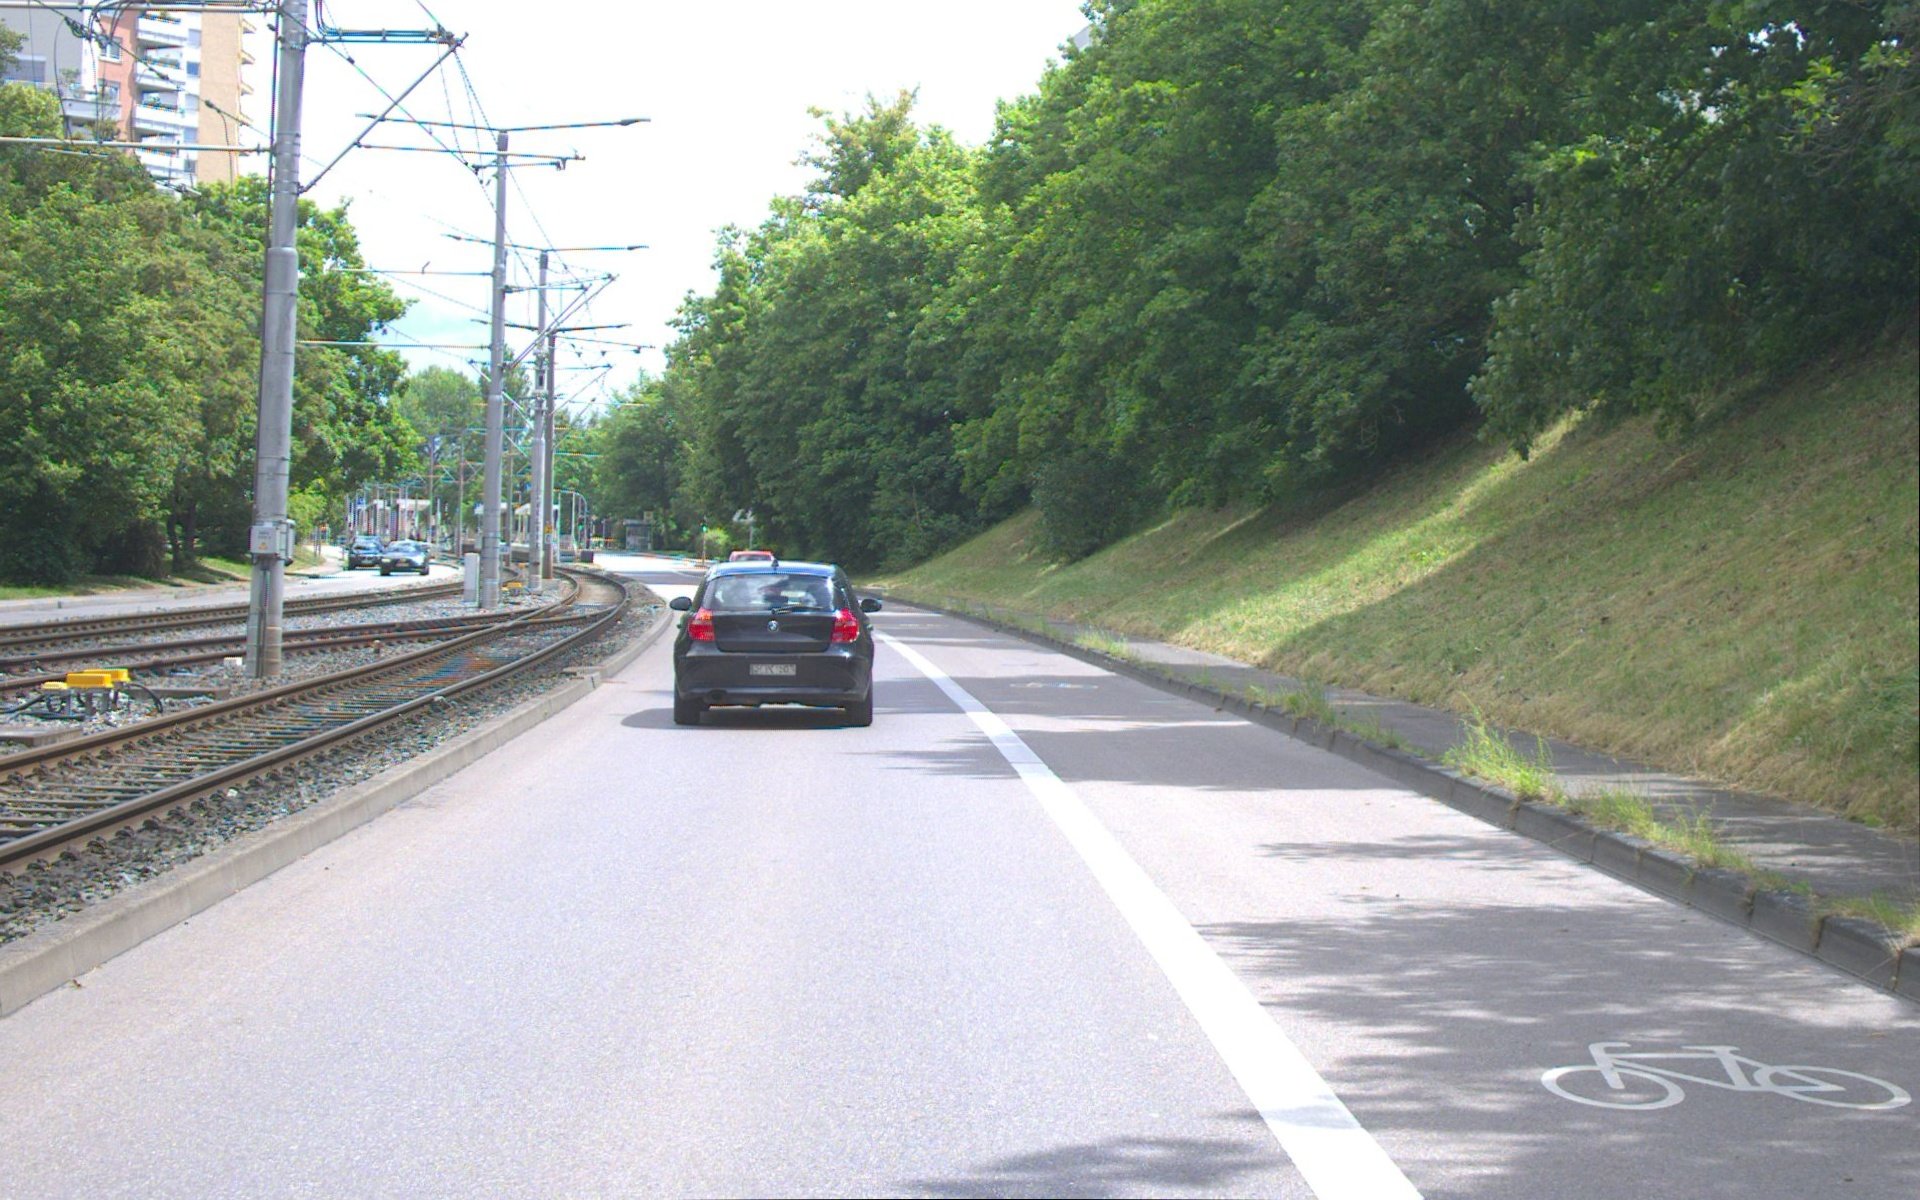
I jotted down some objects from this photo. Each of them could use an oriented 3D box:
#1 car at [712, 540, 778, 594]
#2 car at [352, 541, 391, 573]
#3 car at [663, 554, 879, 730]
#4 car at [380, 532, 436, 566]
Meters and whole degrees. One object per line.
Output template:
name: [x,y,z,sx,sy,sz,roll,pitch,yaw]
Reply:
car: [-6.084,-0.936,97.103,1.781,1.454,3.922,1,1,-5]
car: [-28.649,-2.111,167.427,1.774,1.493,3.998,1,1,-9]
car: [-1.741,0.325,30.595,1.781,1.454,3.922,0,1,-5]
car: [-23.060,-2.140,143.759,1.835,1.386,4.862,-1,1,-3]
